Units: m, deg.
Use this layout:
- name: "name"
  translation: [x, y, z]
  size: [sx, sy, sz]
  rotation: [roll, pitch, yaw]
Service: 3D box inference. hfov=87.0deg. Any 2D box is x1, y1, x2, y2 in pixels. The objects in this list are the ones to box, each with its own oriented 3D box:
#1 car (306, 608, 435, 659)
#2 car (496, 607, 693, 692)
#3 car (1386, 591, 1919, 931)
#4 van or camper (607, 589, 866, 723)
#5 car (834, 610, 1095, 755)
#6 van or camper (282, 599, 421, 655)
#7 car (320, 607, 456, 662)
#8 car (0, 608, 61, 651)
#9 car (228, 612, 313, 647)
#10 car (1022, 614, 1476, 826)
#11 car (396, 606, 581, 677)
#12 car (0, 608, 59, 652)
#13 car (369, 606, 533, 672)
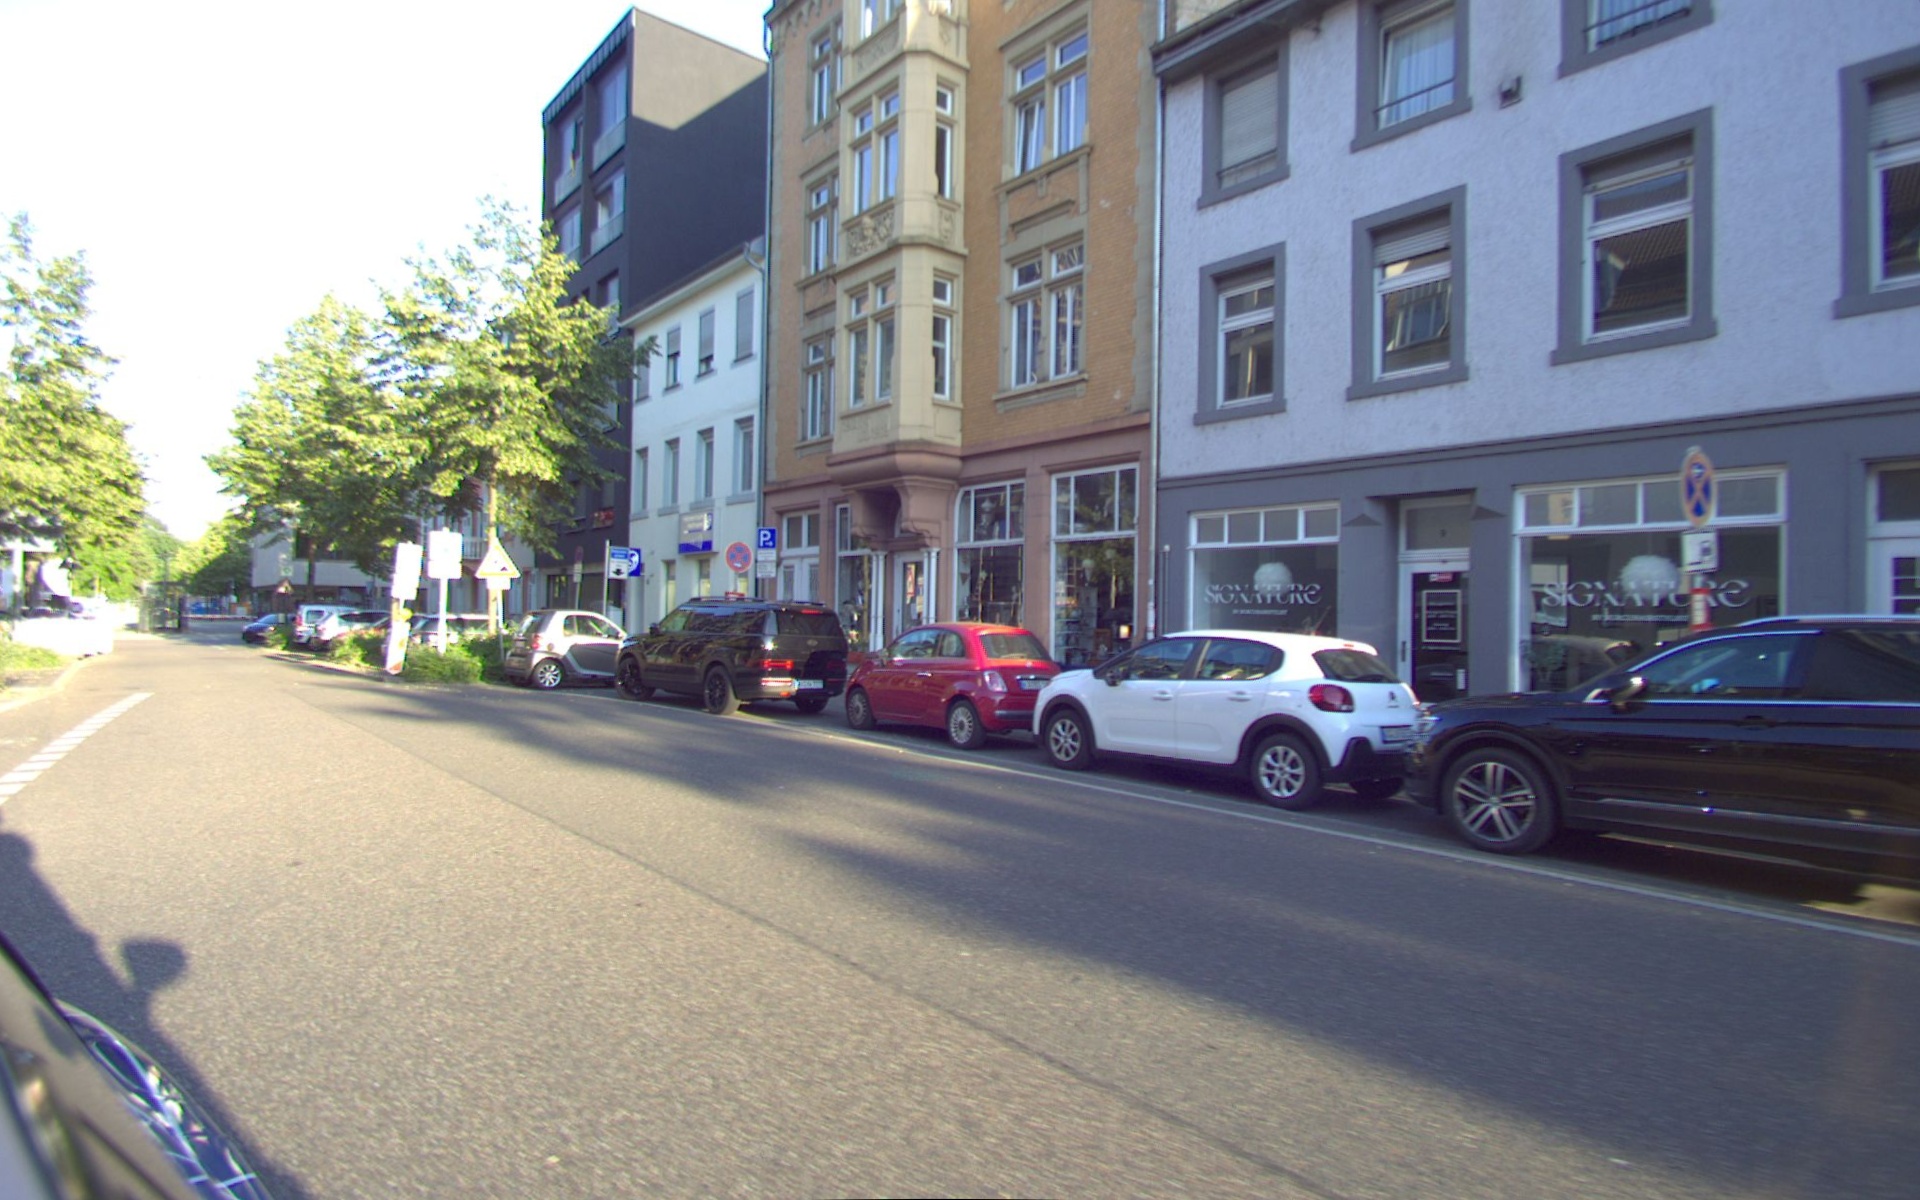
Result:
- name: "car"
  translation: [-21.043, 1.207, 36.189]
  size: [3.640, 1.683, 1.861]
  rotation: [4, -3, -42]
- name: "car"
  translation: [-7.351, 0.986, 20.519]
  size: [3.427, 1.587, 1.509]
  rotation: [3, -2, -42]
- name: "car"
  translation: [5.172, 0.870, 6.112]
  size: [1.772, 1.711, 4.467]
  rotation: [5, -4, -40]
- name: "van or camper"
  translation: [-3.661, 0.808, 16.069]
  size: [1.868, 1.821, 4.463]
  rotation: [4, -3, -45]
- name: "car"
  translation: [-0.048, 0.960, 12.972]
  size: [1.506, 1.582, 3.429]
  rotation: [4, -3, -38]
- name: "van or camper"
  translation: [-24.175, 1.113, 40.321]
  size: [4.385, 2.021, 1.861]
  rotation: [4, -3, -42]
- name: "car"
  translation: [-19.356, 1.182, 34.336]
  size: [3.640, 1.683, 1.861]
  rotation: [4, -3, -42]
- name: "car"
  translation: [-39.421, 1.175, 41.241]
  size: [3.935, 1.697, 1.895]
  rotation: [3, -2, -37]
- name: "car"
  translation: [-33.285, 1.441, 48.992]
  size: [1.829, 1.580, 3.702]
  rotation: [2, -3, -7]
- name: "car"
  translation: [2.546, 0.971, 9.688]
  size: [1.640, 1.585, 3.942]
  rotation: [4, -3, -39]
- name: "car"
  translation: [-12.222, 1.107, 26.380]
  size: [3.946, 1.683, 1.861]
  rotation: [4, -3, -42]
- name: "car"
  translation: [-37.664, 1.133, 39.185]
  size: [3.935, 1.697, 1.895]
  rotation: [3, -2, -37]
- name: "car"
  translation: [-14.075, 1.096, 28.063]
  size: [3.640, 1.683, 1.861]
  rotation: [4, -3, -42]
